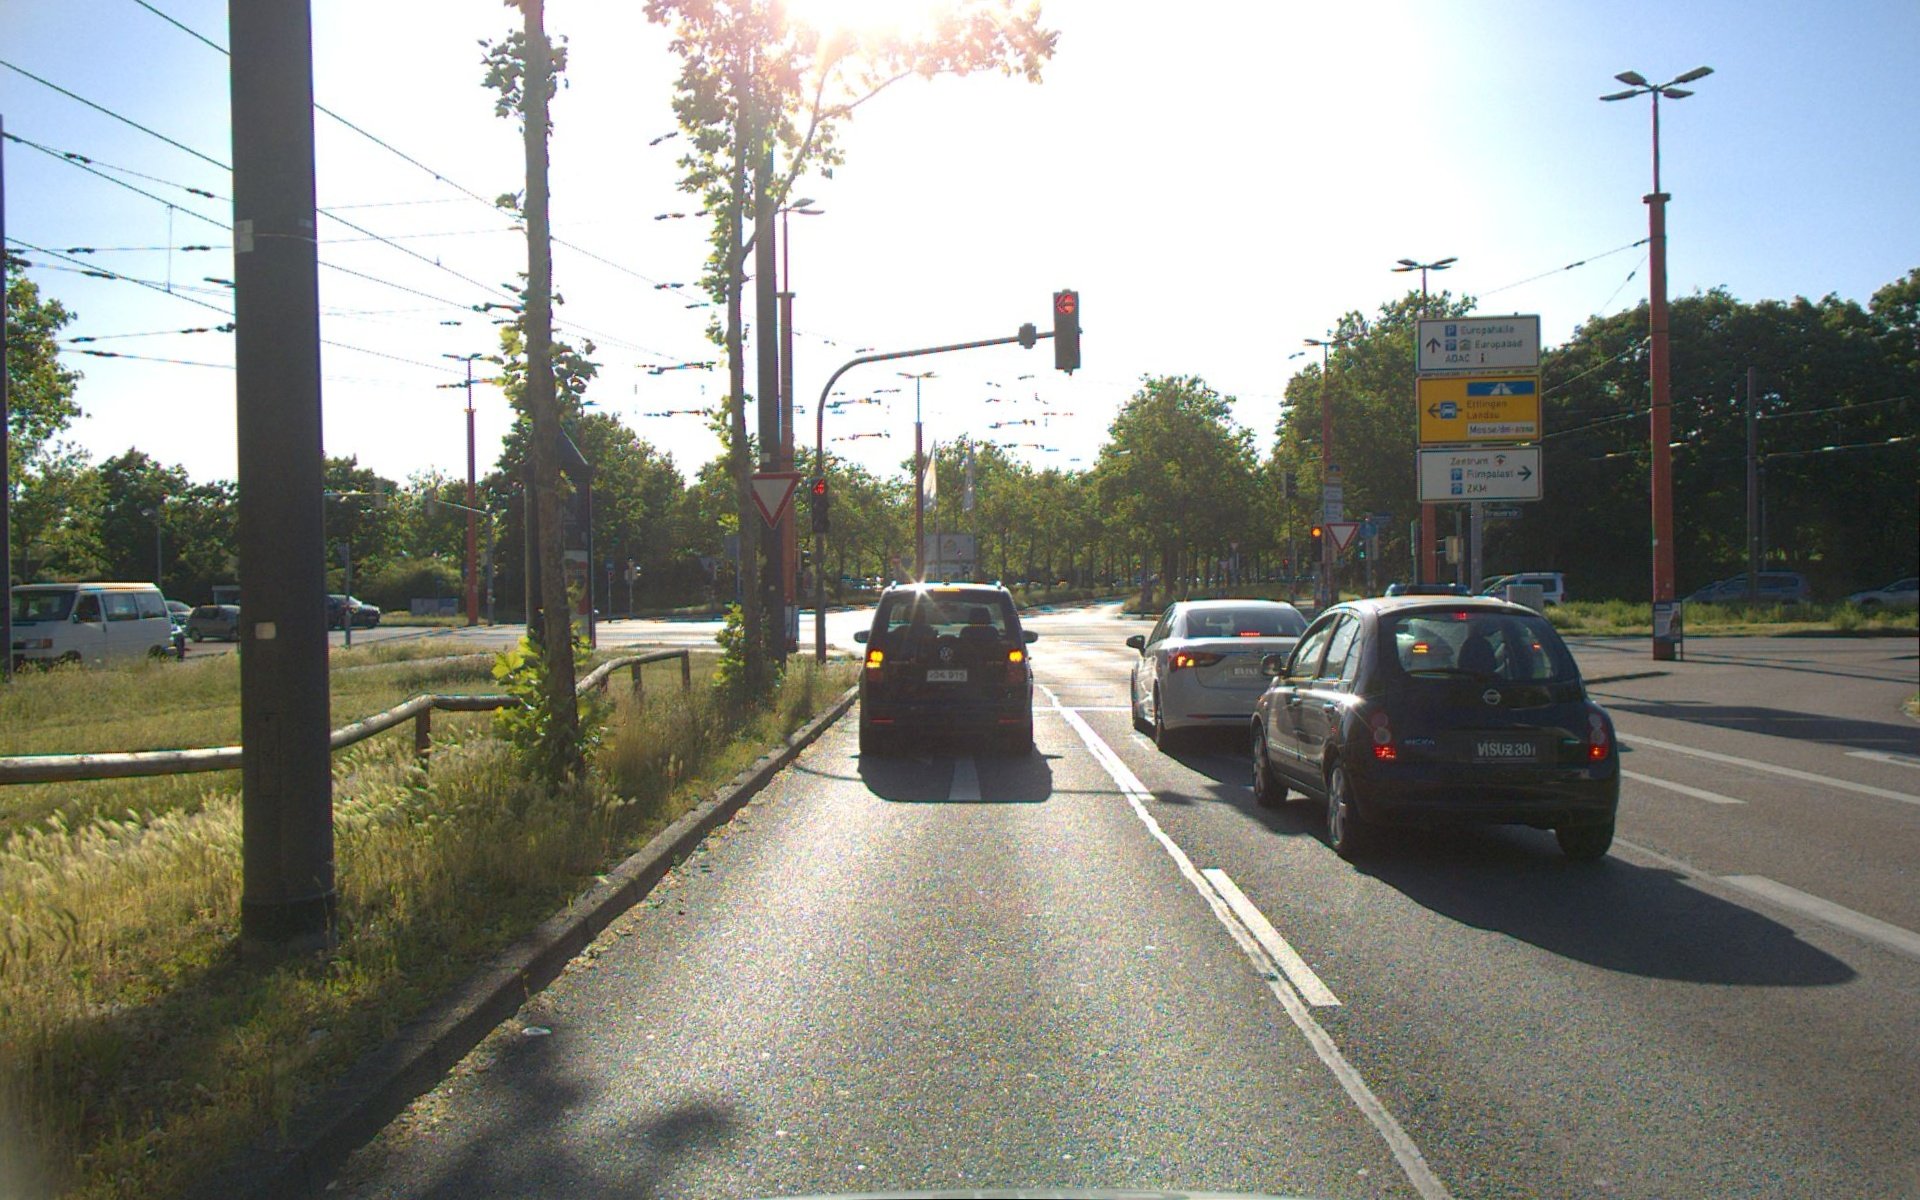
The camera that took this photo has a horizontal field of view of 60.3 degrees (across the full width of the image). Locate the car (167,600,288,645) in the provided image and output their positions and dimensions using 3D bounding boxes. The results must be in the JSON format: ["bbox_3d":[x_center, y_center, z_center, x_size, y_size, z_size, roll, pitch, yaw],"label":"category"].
[{"bbox_3d":[-30.217,0.929,68.234,4.391,1.638,1.901,-2,2,19],"label":"car"}]

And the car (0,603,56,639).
[{"bbox_3d":[-42.921,0.972,74.326,3.950,1.461,1.817,-2,2,19],"label":"car"}]

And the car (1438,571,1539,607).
[{"bbox_3d":[22.346,-0.455,69.945,3.908,1.502,1.788,0,0,26],"label":"car"}]

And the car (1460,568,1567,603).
[{"bbox_3d":[22.282,-0.562,66.625,3.909,1.361,1.727,0,0,26],"label":"car"}]

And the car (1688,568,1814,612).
[{"bbox_3d":[29.883,-0.370,62.600,4.265,1.586,1.871,0,0,25],"label":"car"}]

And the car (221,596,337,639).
[{"bbox_3d":[-29.431,0.752,71.491,4.391,1.638,1.901,-2,2,19],"label":"car"}]

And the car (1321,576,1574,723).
[{"bbox_3d":[6.077,0.543,21.183,1.854,1.661,4.501,-1,1,-1],"label":"car"}]

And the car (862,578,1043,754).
[{"bbox_3d":[-0.096,0.618,17.004,1.675,1.631,3.349,0,0,-1],"label":"car"}]

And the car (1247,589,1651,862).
[{"bbox_3d":[3.042,0.689,11.002,1.605,1.520,3.502,0,0,-1],"label":"car"}]

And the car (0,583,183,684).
[{"bbox_3d":[-17.124,0.607,32.043,1.785,1.811,4.569,0,0,3],"label":"car"}]

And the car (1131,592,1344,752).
[{"bbox_3d":[2.818,0.682,17.589,1.644,1.501,4.131,0,0,1],"label":"car"}]

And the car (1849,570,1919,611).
[{"bbox_3d":[36.016,-0.342,62.832,3.909,1.521,1.859,0,0,27],"label":"car"}]

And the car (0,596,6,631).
[{"bbox_3d":[-47.630,0.697,78.232,4.391,1.638,1.901,0,3,19],"label":"car"}]

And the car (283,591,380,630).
[{"bbox_3d":[-29.699,0.502,78.227,3.903,1.649,1.901,-2,2,19],"label":"car"}]
